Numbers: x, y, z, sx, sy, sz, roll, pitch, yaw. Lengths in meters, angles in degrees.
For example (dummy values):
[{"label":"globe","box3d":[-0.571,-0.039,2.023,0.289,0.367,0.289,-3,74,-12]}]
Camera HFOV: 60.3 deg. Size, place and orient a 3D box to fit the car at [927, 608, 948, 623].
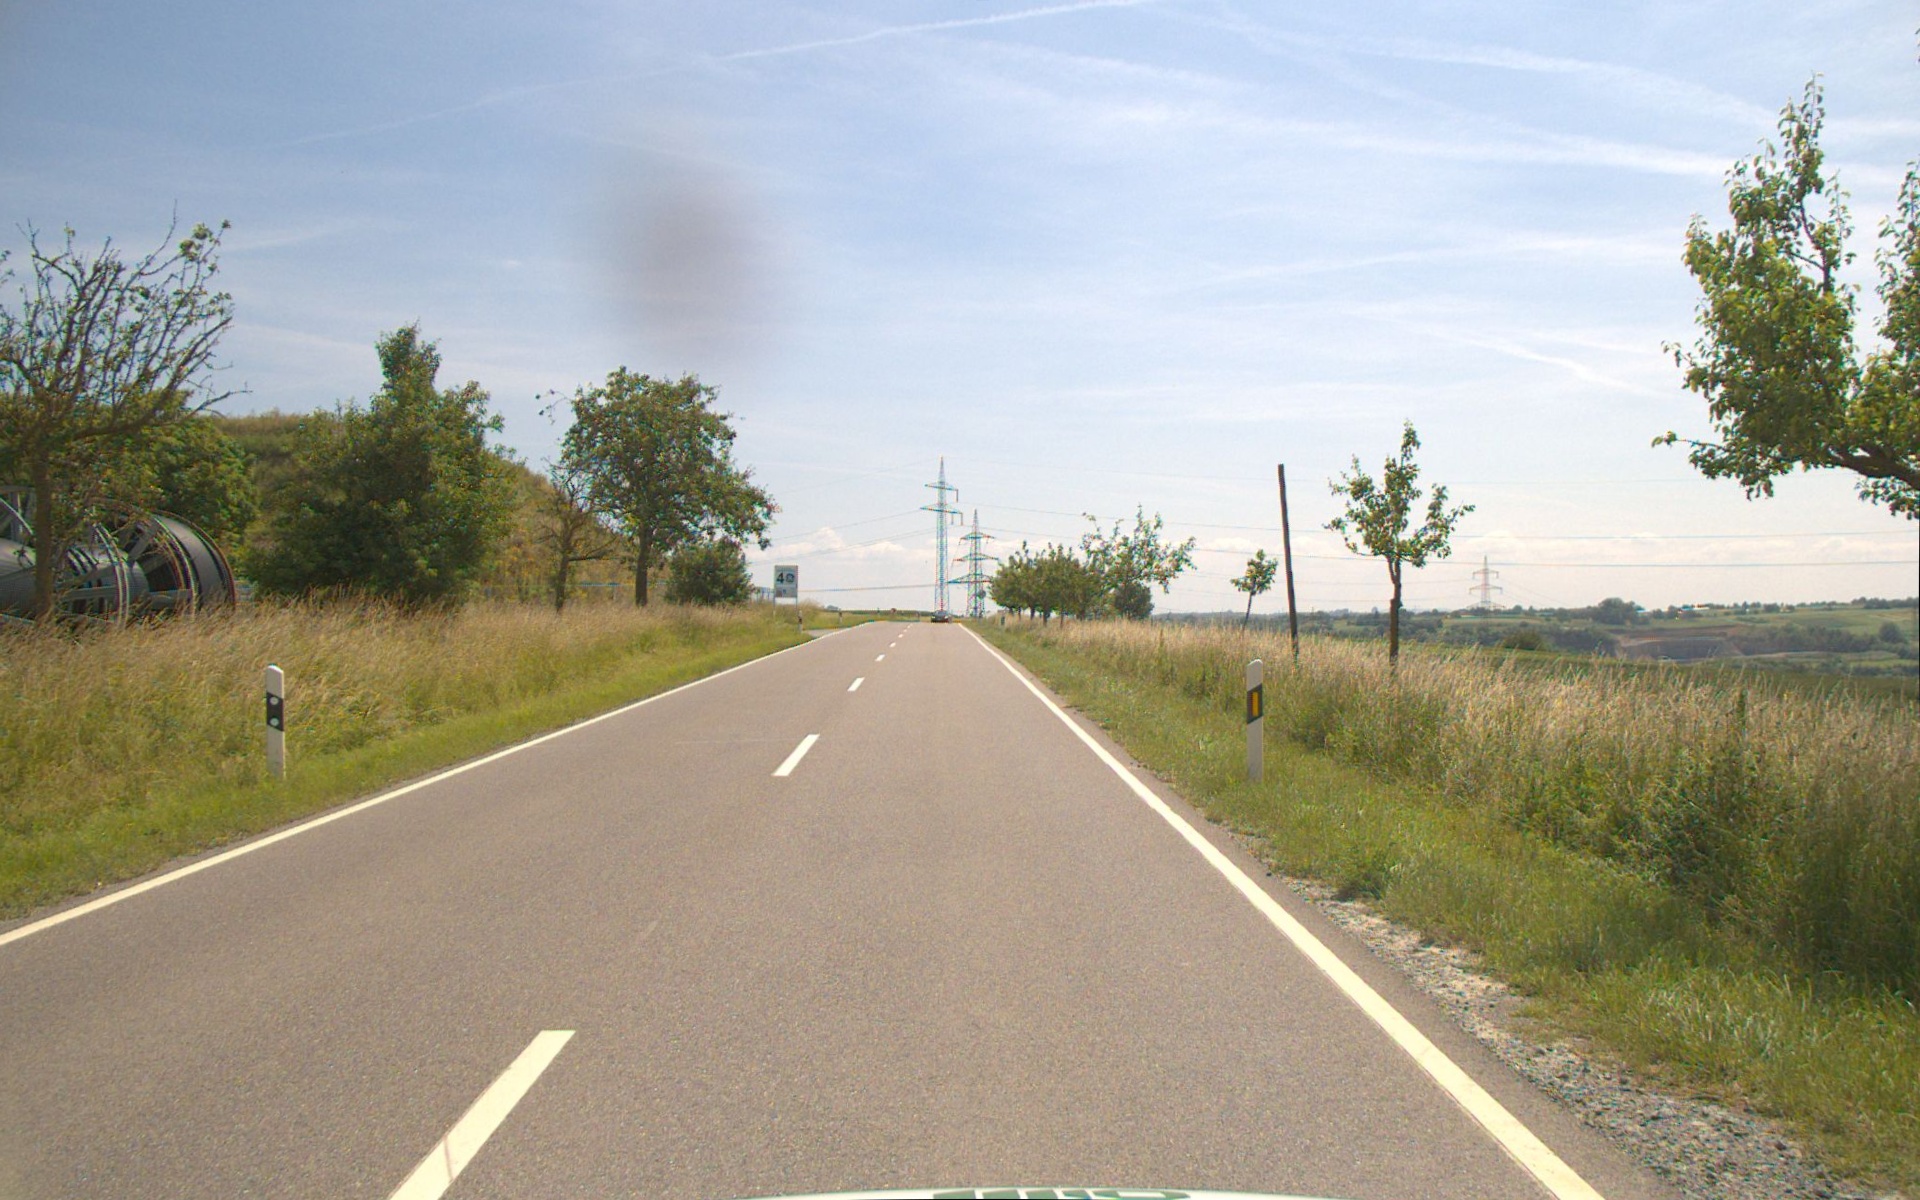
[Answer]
[{"label":"car","box3d":[-2.307,1.569,170.077,1.784,1.435,4.002,1,0,4]}]
